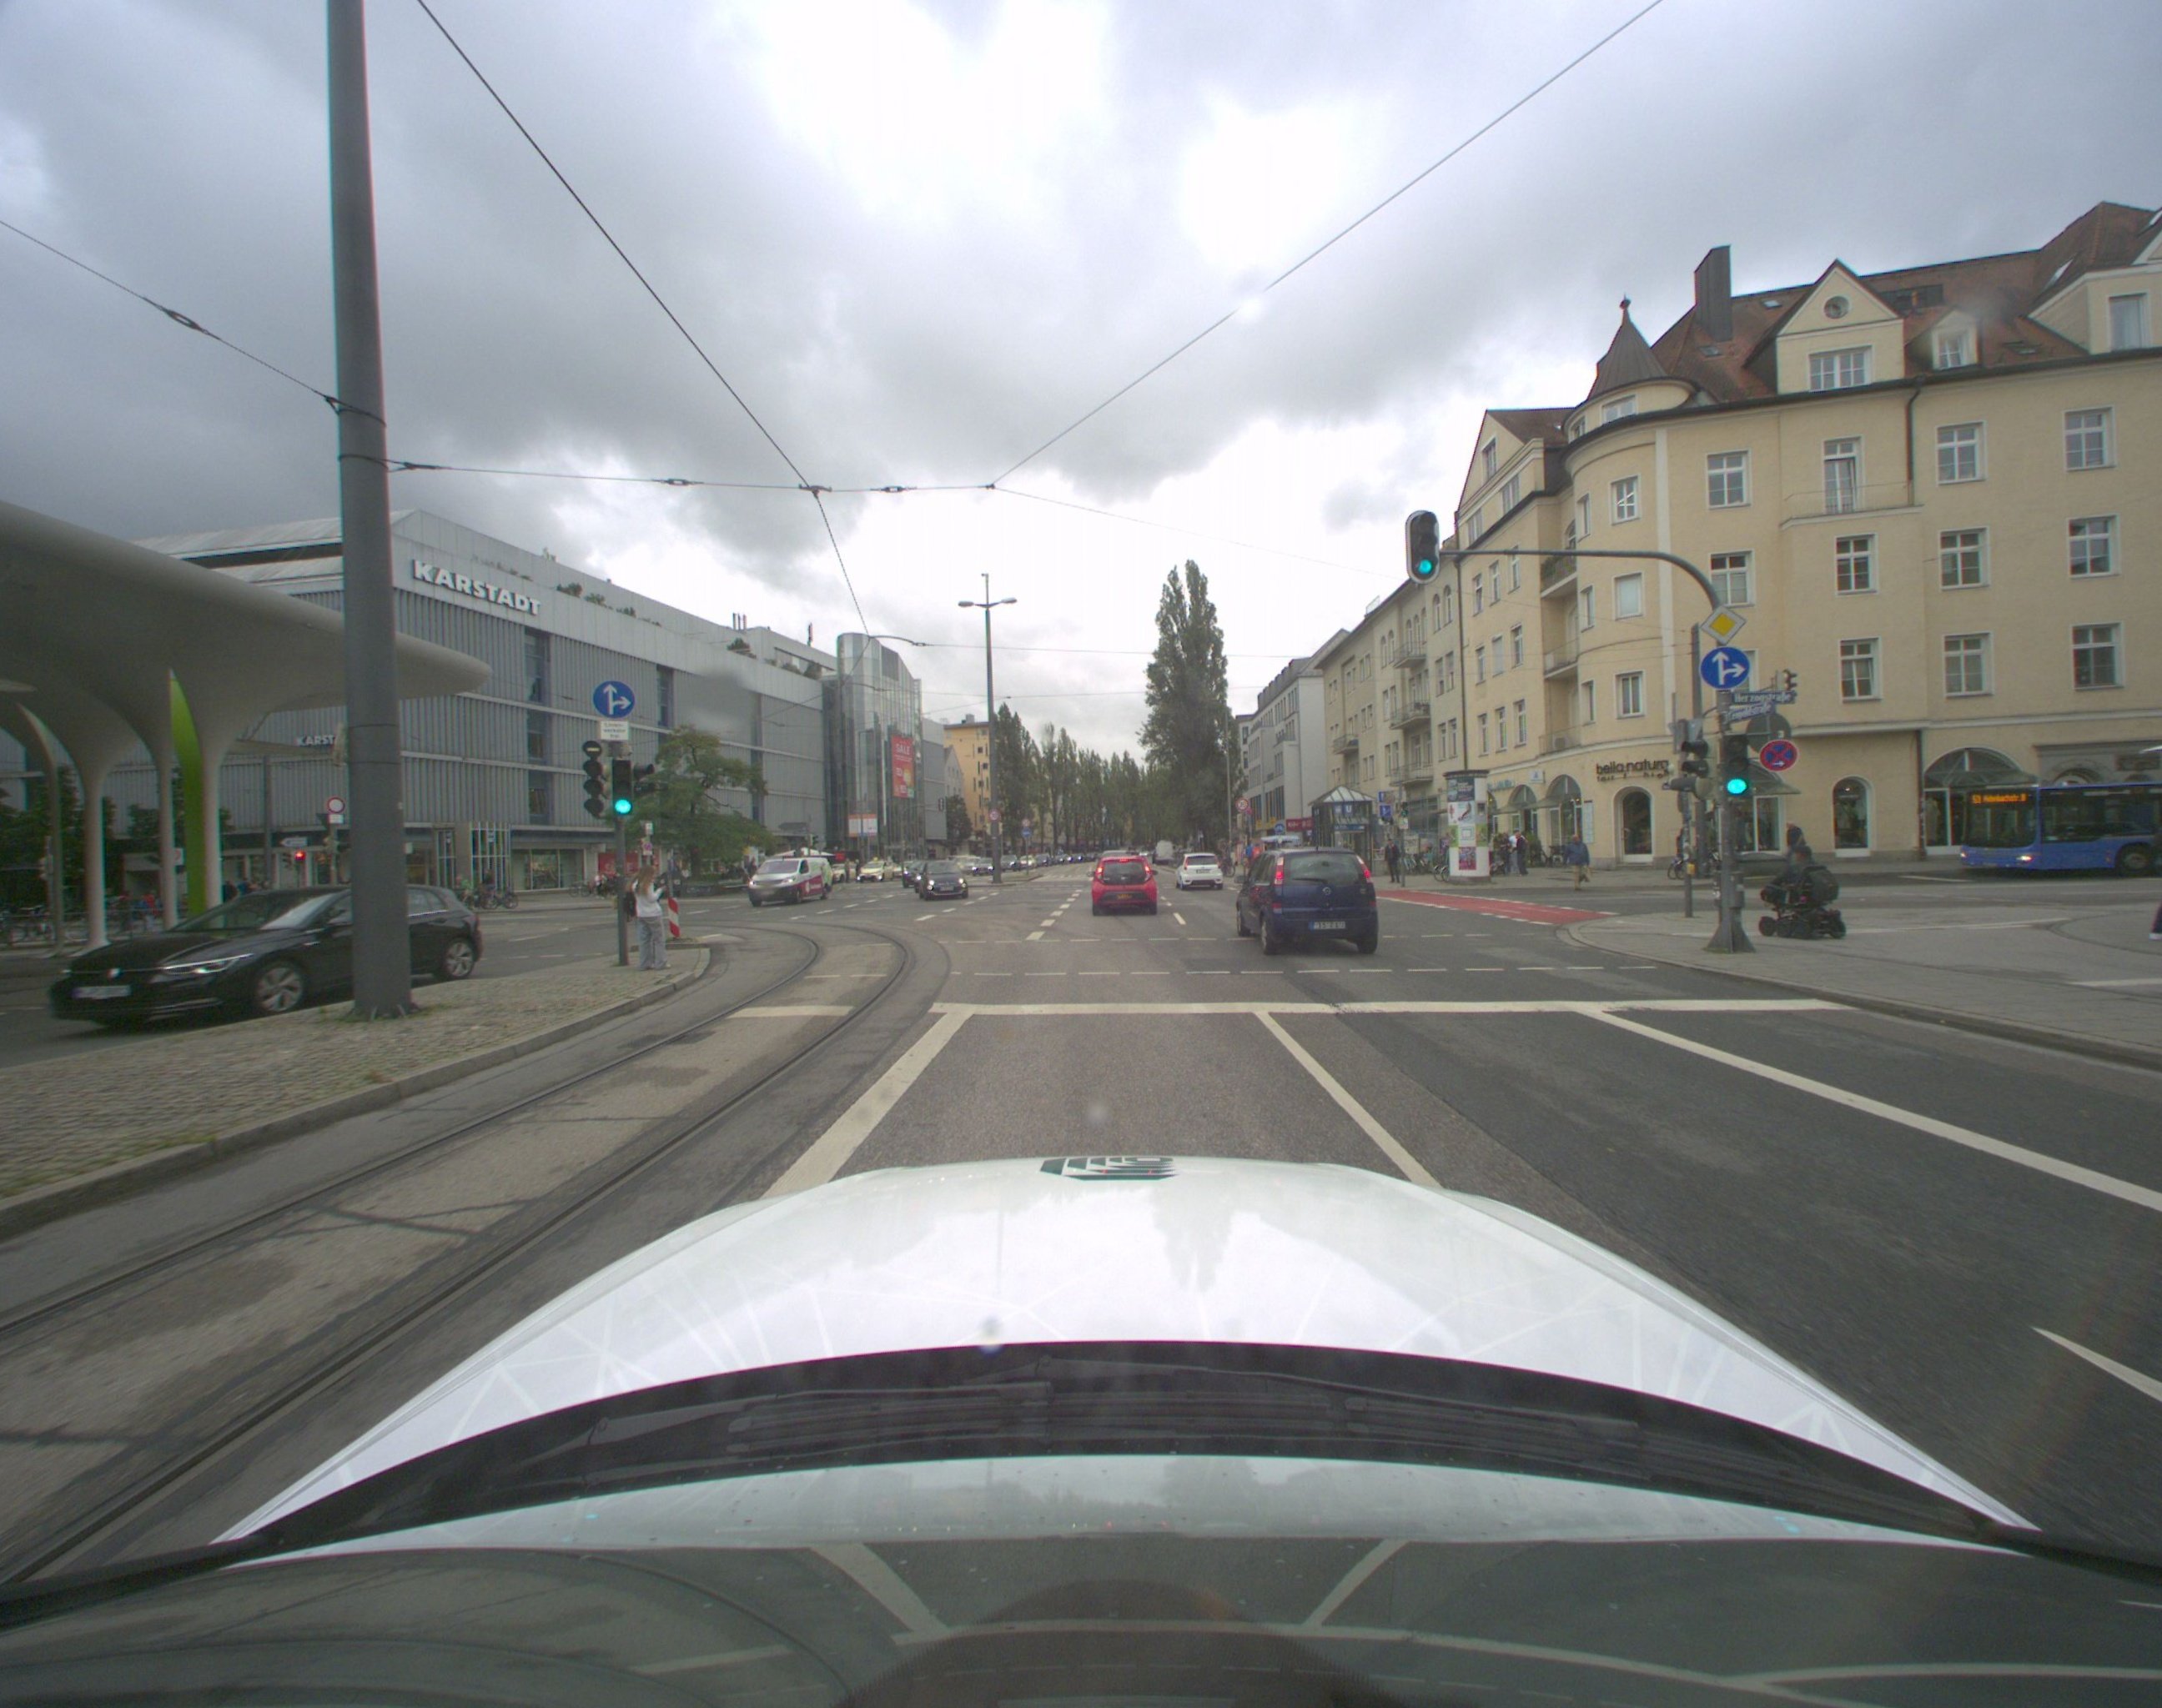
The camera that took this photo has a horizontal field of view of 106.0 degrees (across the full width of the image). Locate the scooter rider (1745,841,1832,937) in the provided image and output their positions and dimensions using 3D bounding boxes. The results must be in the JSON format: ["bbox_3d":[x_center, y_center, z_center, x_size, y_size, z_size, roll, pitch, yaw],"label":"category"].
[{"bbox_3d":[10.617,0.508,12.239,0.698,1.389,0.643,-2,0,0],"label":"scooter rider"}]

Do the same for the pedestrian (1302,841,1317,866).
[{"bbox_3d":[16.374,-0.021,58.406,0.809,1.727,0.759,-3,0,2],"label":"pedestrian"}]

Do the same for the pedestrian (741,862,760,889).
[{"bbox_3d":[-20.850,1.329,51.387,0.765,1.654,0.754,-2,0,13],"label":"pedestrian"}]

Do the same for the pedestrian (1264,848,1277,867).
[{"bbox_3d":[15.185,0.298,65.382,0.806,1.522,0.800,-2,0,1],"label":"pedestrian"}]

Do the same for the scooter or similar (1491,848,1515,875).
[{"bbox_3d":[16.731,0.285,32.281,0.812,0.994,0.597,-1,3,24],"label":"scooter or similar"}]

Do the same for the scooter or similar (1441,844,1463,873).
[{"bbox_3d":[16.228,0.197,35.638,0.287,1.227,1.151,-2,0,-7],"label":"scooter or similar"}]

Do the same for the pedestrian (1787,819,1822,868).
[{"bbox_3d":[26.031,-0.380,29.312,0.676,1.705,0.749,-2,3,11],"label":"pedestrian"}]

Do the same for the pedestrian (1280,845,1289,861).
[{"bbox_3d":[20.506,-0.126,82.022,0.710,1.558,0.676,-2,0,2],"label":"pedestrian"}]

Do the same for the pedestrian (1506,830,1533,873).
[{"bbox_3d":[17.922,-0.099,33.305,0.648,1.705,0.727,-4,3,-27],"label":"pedestrian"}]

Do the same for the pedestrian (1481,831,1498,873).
[{"bbox_3d":[16.602,-0.087,33.081,0.560,1.670,0.565,-1,3,24],"label":"pedestrian"}]

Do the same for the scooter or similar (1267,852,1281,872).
[{"bbox_3d":[11.565,0.469,48.872,0.360,1.176,1.356,-2,0,32],"label":"scooter or similar"}]

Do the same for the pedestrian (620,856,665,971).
[{"bbox_3d":[-6.424,0.844,11.926,0.489,1.618,0.552,-2,0,-33],"label":"pedestrian"}]

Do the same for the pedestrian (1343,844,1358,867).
[{"bbox_3d":[19.448,0.092,58.812,0.748,1.650,0.758,-3,0,0],"label":"pedestrian"}]

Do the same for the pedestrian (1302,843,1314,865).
[{"bbox_3d":[17.792,0.011,63.775,0.594,1.669,0.690,-2,0,37],"label":"pedestrian"}]

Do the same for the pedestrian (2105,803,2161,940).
[{"bbox_3d":[13.693,0.205,10.268,0.762,1.695,0.762,-2,0,-24],"label":"pedestrian"}]

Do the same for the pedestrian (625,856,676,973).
[{"bbox_3d":[-6.153,0.844,11.631,0.466,1.618,0.515,-2,0,-45],"label":"pedestrian"}]

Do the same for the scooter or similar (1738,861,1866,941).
[{"bbox_3d":[10.664,0.667,12.098,0.773,1.075,1.256,-2,0,0],"label":"scooter or similar"}]

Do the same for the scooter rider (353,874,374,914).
[{"bbox_3d":[-33.855,1.873,38.406,0.612,1.839,0.550,-2,0,-32],"label":"scooter rider"}]

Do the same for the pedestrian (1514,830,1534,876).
[{"bbox_3d":[17.378,-0.047,31.951,0.642,1.751,0.640,-1,3,24],"label":"pedestrian"}]

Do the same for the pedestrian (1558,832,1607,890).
[{"bbox_3d":[15.678,0.217,25.481,0.928,1.755,1.068,-2,0,10],"label":"pedestrian"}]

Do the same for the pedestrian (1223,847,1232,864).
[{"bbox_3d":[14.937,0.175,82.941,0.787,1.727,0.764,-2,0,2],"label":"pedestrian"}]

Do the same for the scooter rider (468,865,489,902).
[{"bbox_3d":[-30.846,1.498,41.677,0.667,1.835,0.616,-2,0,-19],"label":"scooter rider"}]

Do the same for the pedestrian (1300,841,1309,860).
[{"bbox_3d":[17.781,-0.251,64.783,0.501,1.484,0.468,-2,0,37],"label":"pedestrian"}]

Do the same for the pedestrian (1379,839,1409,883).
[{"bbox_3d":[12.344,0.256,32.145,0.826,1.691,0.825,-2,0,39],"label":"pedestrian"}]

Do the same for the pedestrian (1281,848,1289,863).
[{"bbox_3d":[18.925,0.157,75.641,0.596,1.402,0.580,-2,0,2],"label":"pedestrian"}]

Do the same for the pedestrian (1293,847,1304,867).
[{"bbox_3d":[17.138,0.230,64.212,0.573,1.505,0.620,-2,0,33],"label":"pedestrian"}]

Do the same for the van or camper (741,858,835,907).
[{"bbox_3d":[-12.104,1.103,34.067,1.922,1.826,5.440,-2,0,0],"label":"van or camper"}]

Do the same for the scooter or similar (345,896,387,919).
[{"bbox_3d":[-33.751,2.519,38.451,1.409,0.982,0.410,-2,0,-32],"label":"scooter or similar"}]

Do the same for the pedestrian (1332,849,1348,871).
[{"bbox_3d":[18.226,0.442,57.355,0.775,1.517,0.758,-3,0,0],"label":"pedestrian"}]

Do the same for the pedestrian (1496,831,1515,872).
[{"bbox_3d":[17.365,-0.100,33.342,0.556,1.609,0.570,-2,3,15],"label":"pedestrian"}]

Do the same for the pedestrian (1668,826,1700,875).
[{"bbox_3d":[21.666,-0.144,29.279,0.676,1.684,0.749,-2,3,11],"label":"pedestrian"}]

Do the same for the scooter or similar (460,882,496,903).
[{"bbox_3d":[-30.849,1.974,41.670,1.404,0.982,0.412,-2,0,-20],"label":"scooter or similar"}]

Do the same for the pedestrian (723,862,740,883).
[{"bbox_3d":[-21.816,1.134,50.890,0.542,1.275,1.045,-2,0,3],"label":"pedestrian"}]

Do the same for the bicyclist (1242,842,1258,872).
[{"bbox_3d":[10.883,0.187,52.519,0.759,1.869,1.133,-2,0,3],"label":"bicyclist"}]

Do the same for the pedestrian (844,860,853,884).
[{"bbox_3d":[-17.102,1.309,59.946,0.441,1.759,0.357,-2,0,22],"label":"pedestrian"}]

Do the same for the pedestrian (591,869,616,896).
[{"bbox_3d":[-28.947,1.740,49.335,0.791,1.581,0.980,-2,0,13],"label":"pedestrian"}]

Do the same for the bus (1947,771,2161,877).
[{"bbox_3d":[35.150,-1.083,24.349,13.468,2.967,2.825,-2,1,12],"label":"bus"}]

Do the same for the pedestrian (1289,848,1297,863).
[{"bbox_3d":[19.636,0.155,75.593,0.572,1.402,0.580,-2,0,2],"label":"pedestrian"}]

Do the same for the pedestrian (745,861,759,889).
[{"bbox_3d":[-21.248,1.326,52.657,0.752,1.773,0.767,-2,0,-21],"label":"pedestrian"}]

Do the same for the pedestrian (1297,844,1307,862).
[{"bbox_3d":[20.698,-0.084,76.394,0.730,1.602,0.742,-2,0,2],"label":"pedestrian"}]

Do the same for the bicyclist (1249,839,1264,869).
[{"bbox_3d":[10.007,-0.018,46.511,0.611,1.657,1.252,-2,0,3],"label":"bicyclist"}]
